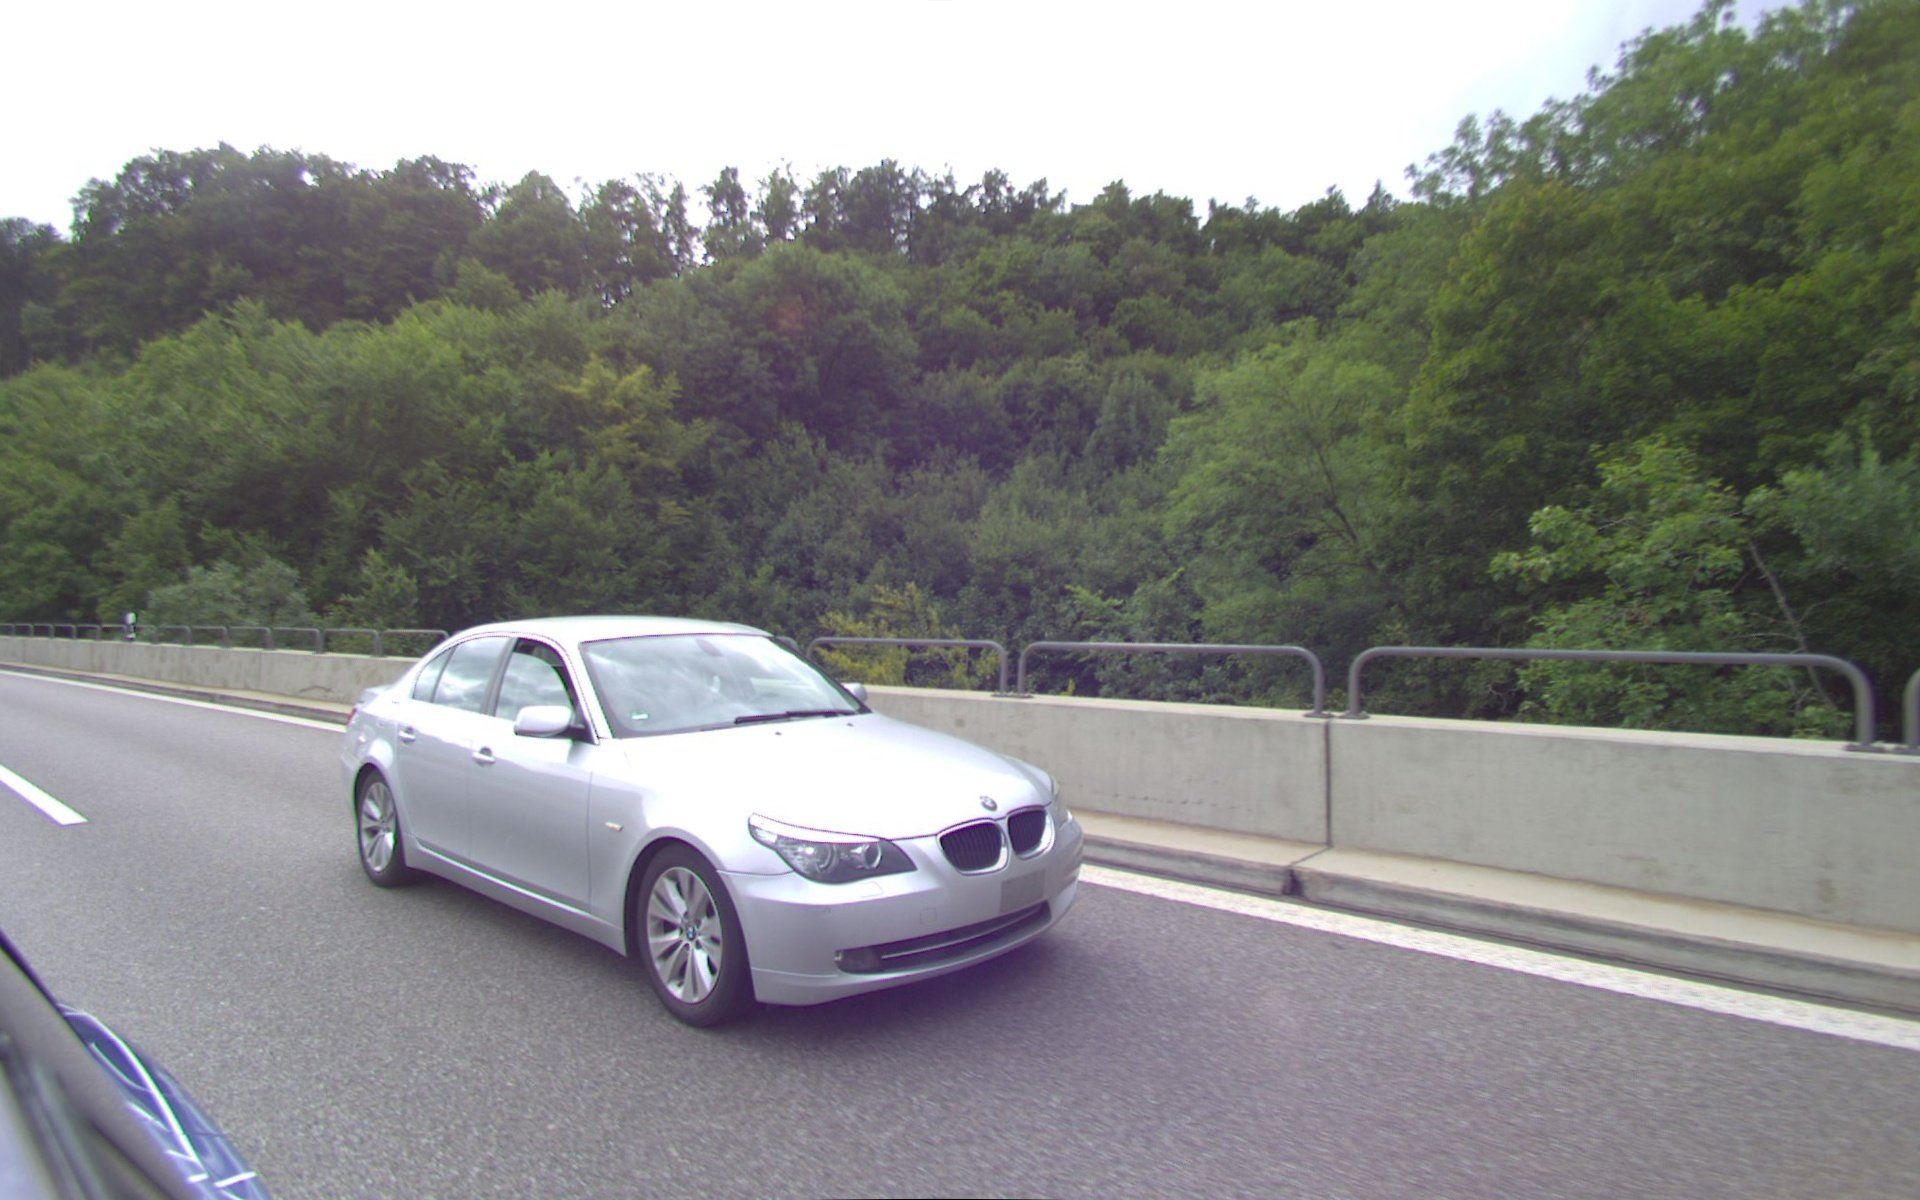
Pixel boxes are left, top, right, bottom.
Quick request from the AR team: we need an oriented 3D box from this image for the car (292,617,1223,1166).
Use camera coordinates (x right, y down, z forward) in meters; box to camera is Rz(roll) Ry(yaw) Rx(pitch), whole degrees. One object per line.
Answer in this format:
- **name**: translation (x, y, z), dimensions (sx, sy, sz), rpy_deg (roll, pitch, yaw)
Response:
- **car**: translation (-1.463, 0.833, 5.101), dimensions (5.131, 1.468, 1.809), rpy_deg (-1, -1, 40)
